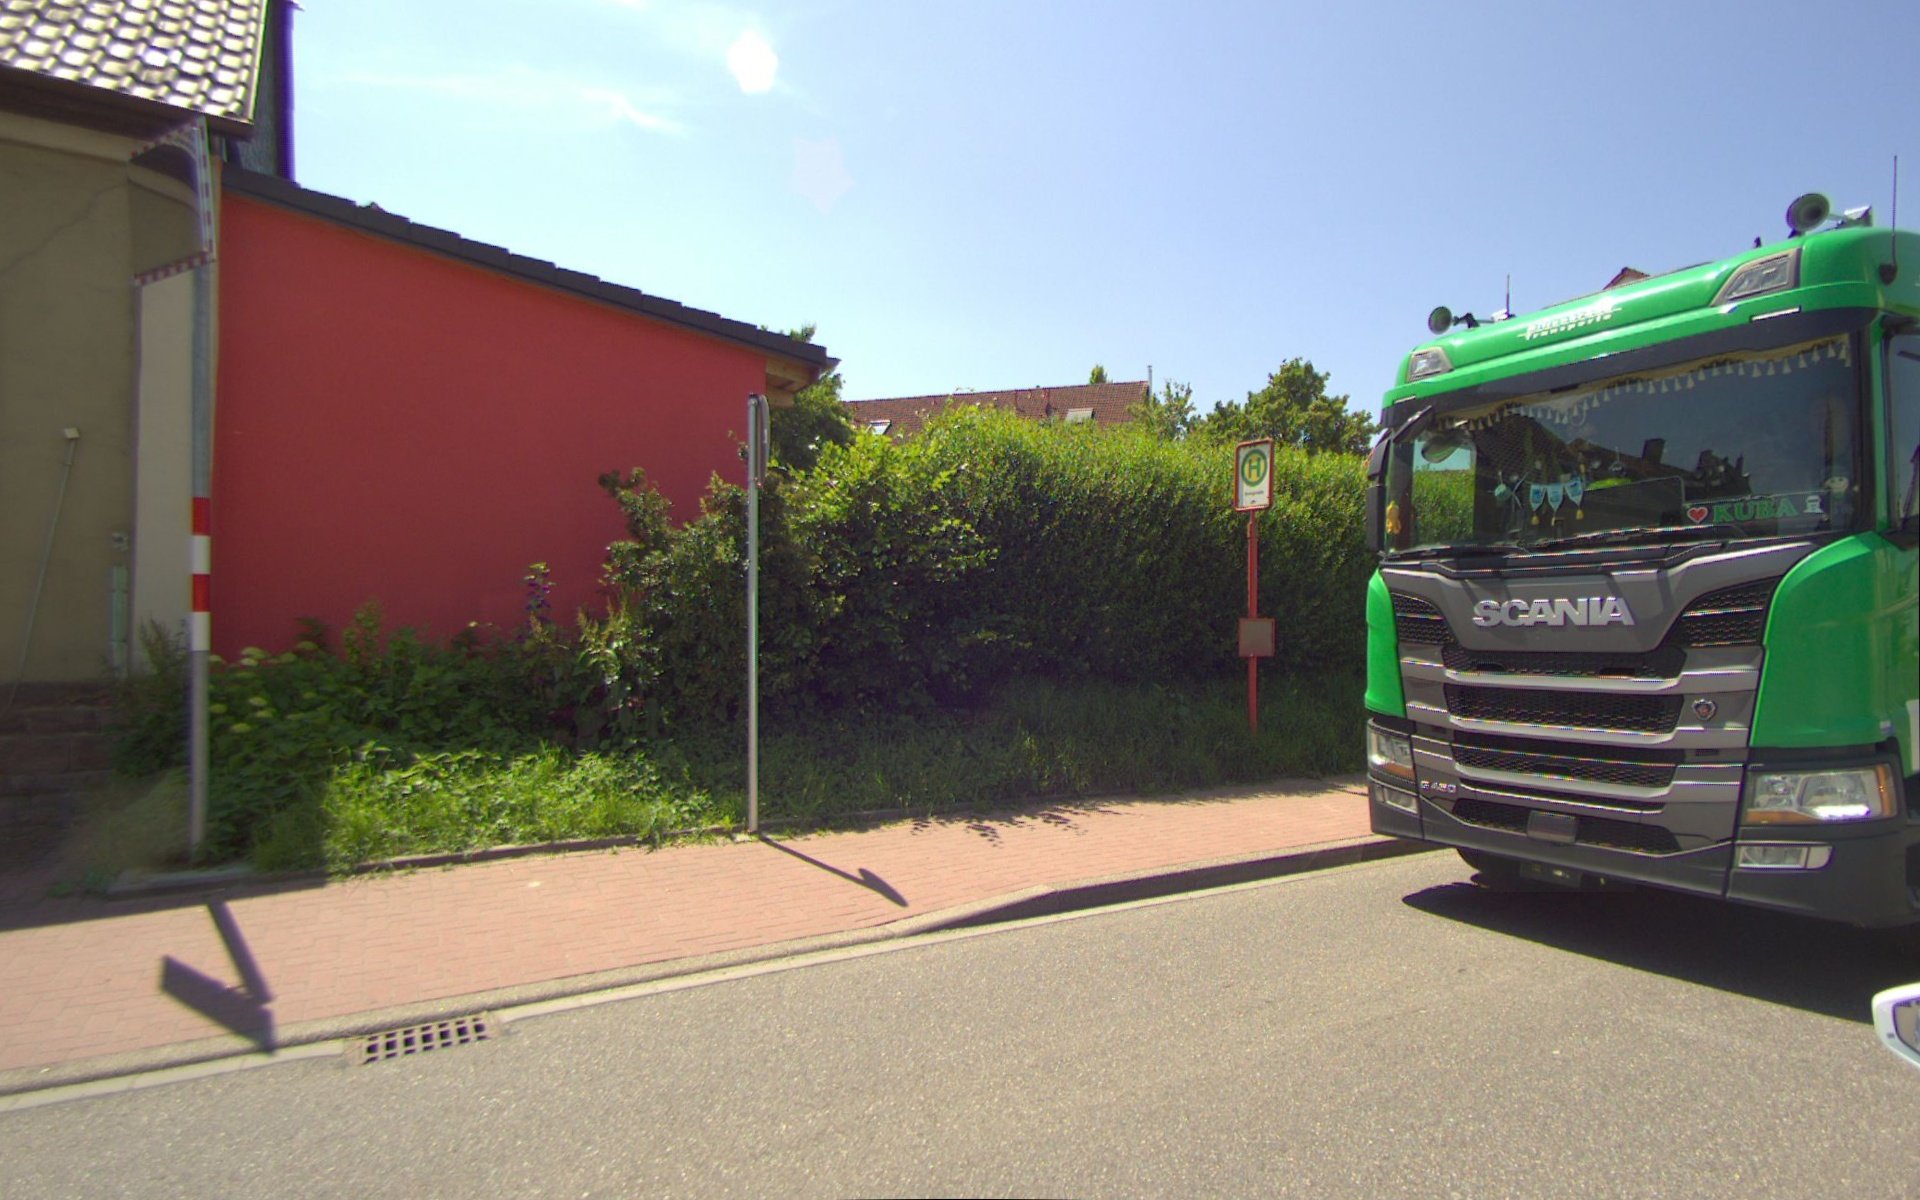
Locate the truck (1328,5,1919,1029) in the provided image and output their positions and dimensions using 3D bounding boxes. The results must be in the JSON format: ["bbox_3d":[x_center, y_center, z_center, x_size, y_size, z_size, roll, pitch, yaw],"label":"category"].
[{"bbox_3d":[7.083,-0.181,7.329,9.961,3.749,2.555,1,-3,-31],"label":"truck"}]
